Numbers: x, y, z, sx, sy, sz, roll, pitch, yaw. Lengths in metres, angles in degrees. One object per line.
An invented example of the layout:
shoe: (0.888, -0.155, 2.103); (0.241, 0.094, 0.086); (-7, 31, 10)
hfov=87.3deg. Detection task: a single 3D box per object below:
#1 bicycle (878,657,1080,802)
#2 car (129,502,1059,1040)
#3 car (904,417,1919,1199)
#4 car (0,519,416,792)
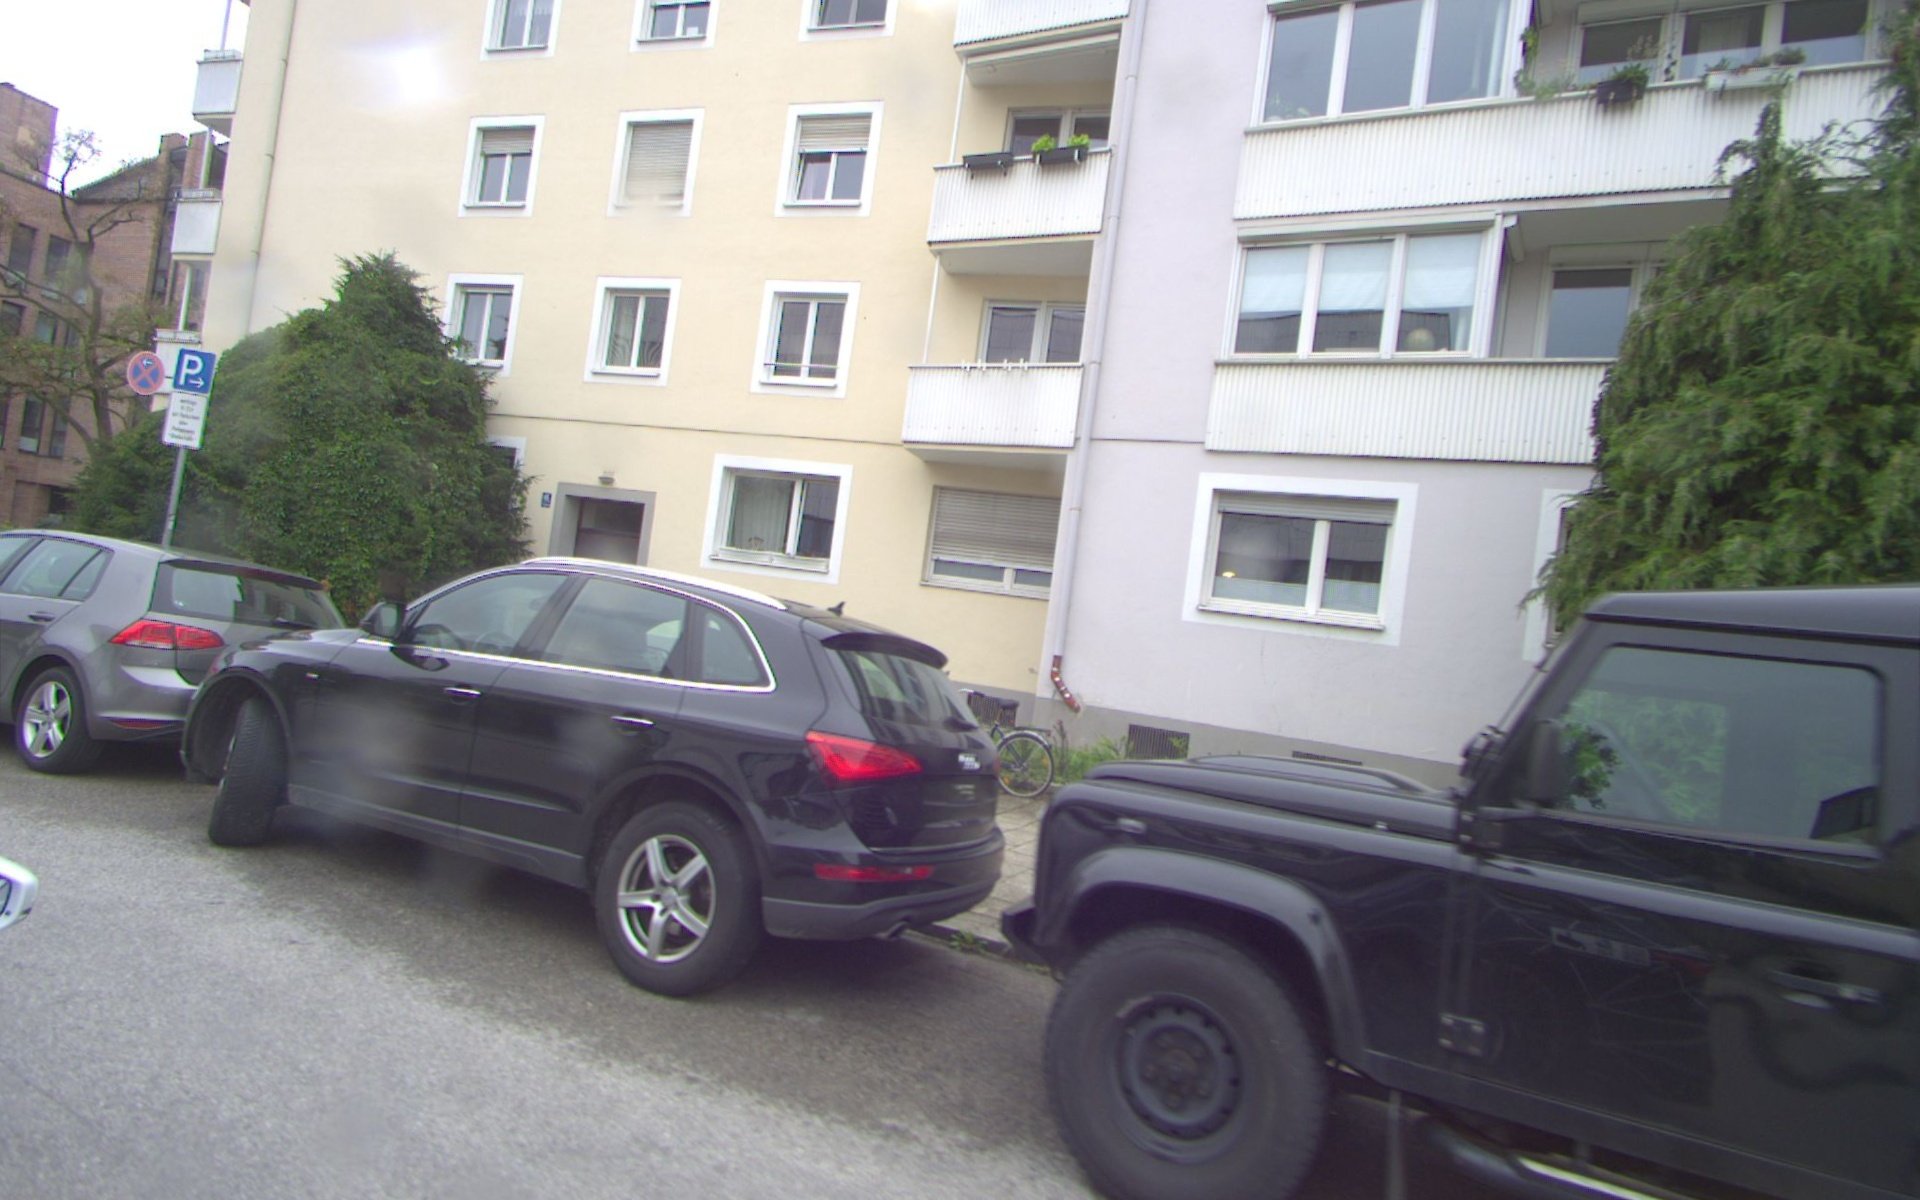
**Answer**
bicycle: (0.169, 1.270, 10.201); (1.910, 1.131, 0.468); (7, 0, 27)
car: (-1.944, 0.597, 5.174); (4.433, 1.582, 1.666); (7, -4, 25)
car: (2.324, 0.842, 2.868); (4.436, 2.104, 1.754); (8, -3, 27)
car: (-6.136, 0.255, 7.076); (3.970, 1.411, 1.763); (6, -4, 21)
